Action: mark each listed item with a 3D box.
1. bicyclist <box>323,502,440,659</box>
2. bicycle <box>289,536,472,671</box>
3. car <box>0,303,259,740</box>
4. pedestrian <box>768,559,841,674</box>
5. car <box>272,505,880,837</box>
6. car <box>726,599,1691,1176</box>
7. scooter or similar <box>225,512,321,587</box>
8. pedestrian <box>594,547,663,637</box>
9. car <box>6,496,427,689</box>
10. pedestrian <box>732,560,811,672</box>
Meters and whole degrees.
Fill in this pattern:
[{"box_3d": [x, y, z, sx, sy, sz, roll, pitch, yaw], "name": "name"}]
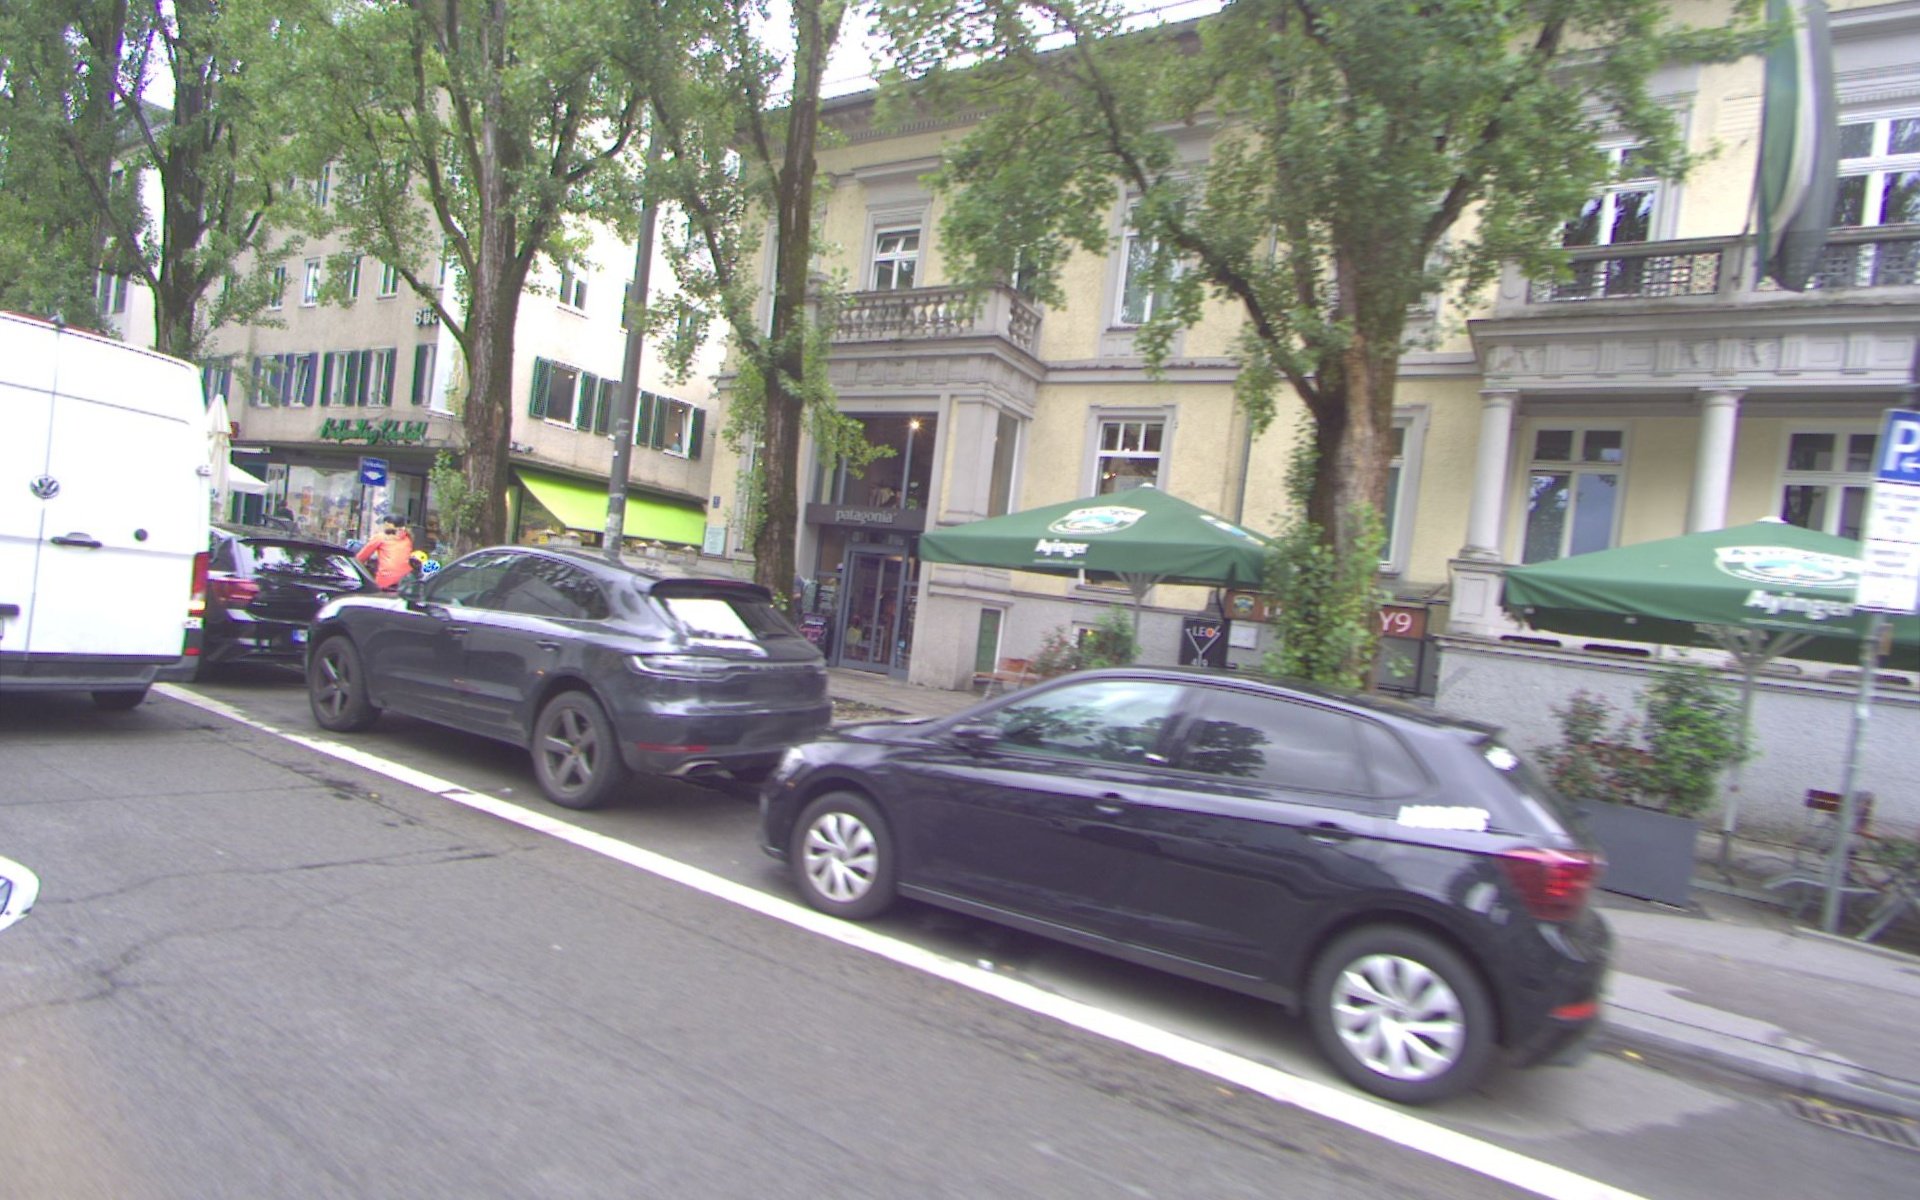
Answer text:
[{"box_3d": [-7.109, -0.228, 12.363, 0.870, 1.788, 0.768, 7, 1, 31], "name": "bicyclist"}, {"box_3d": [-7.148, 0.024, 12.365, 2.408, 1.366, 0.773, 7, 1, 31], "name": "bicycle"}, {"box_3d": [-8.271, -0.768, 7.760, 6.618, 2.522, 2.066, 7, 0, 32], "name": "car"}, {"box_3d": [-2.647, 0.287, 17.163, 0.860, 1.818, 0.774, 7, 1, 6], "name": "pedestrian"}, {"box_3d": [-2.999, 0.383, 7.618, 4.372, 1.657, 1.807, 7, -1, 30], "name": "car"}, {"box_3d": [0.970, 0.980, 4.909, 3.884, 1.434, 1.697, 7, 0, 30], "name": "car"}, {"box_3d": [-15.476, -1.147, 22.640, 2.451, 1.394, 0.637, 8, 3, 28], "name": "scooter or similar"}, {"box_3d": [-6.720, -0.159, 20.410, 0.862, 1.698, 0.798, 7, 1, 32], "name": "pedestrian"}, {"box_3d": [-7.739, -0.098, 10.410, 4.268, 1.410, 1.714, 7, -1, 28], "name": "car"}, {"box_3d": [-3.058, 0.263, 16.402, 0.860, 1.698, 0.800, 7, 1, 9], "name": "pedestrian"}]
